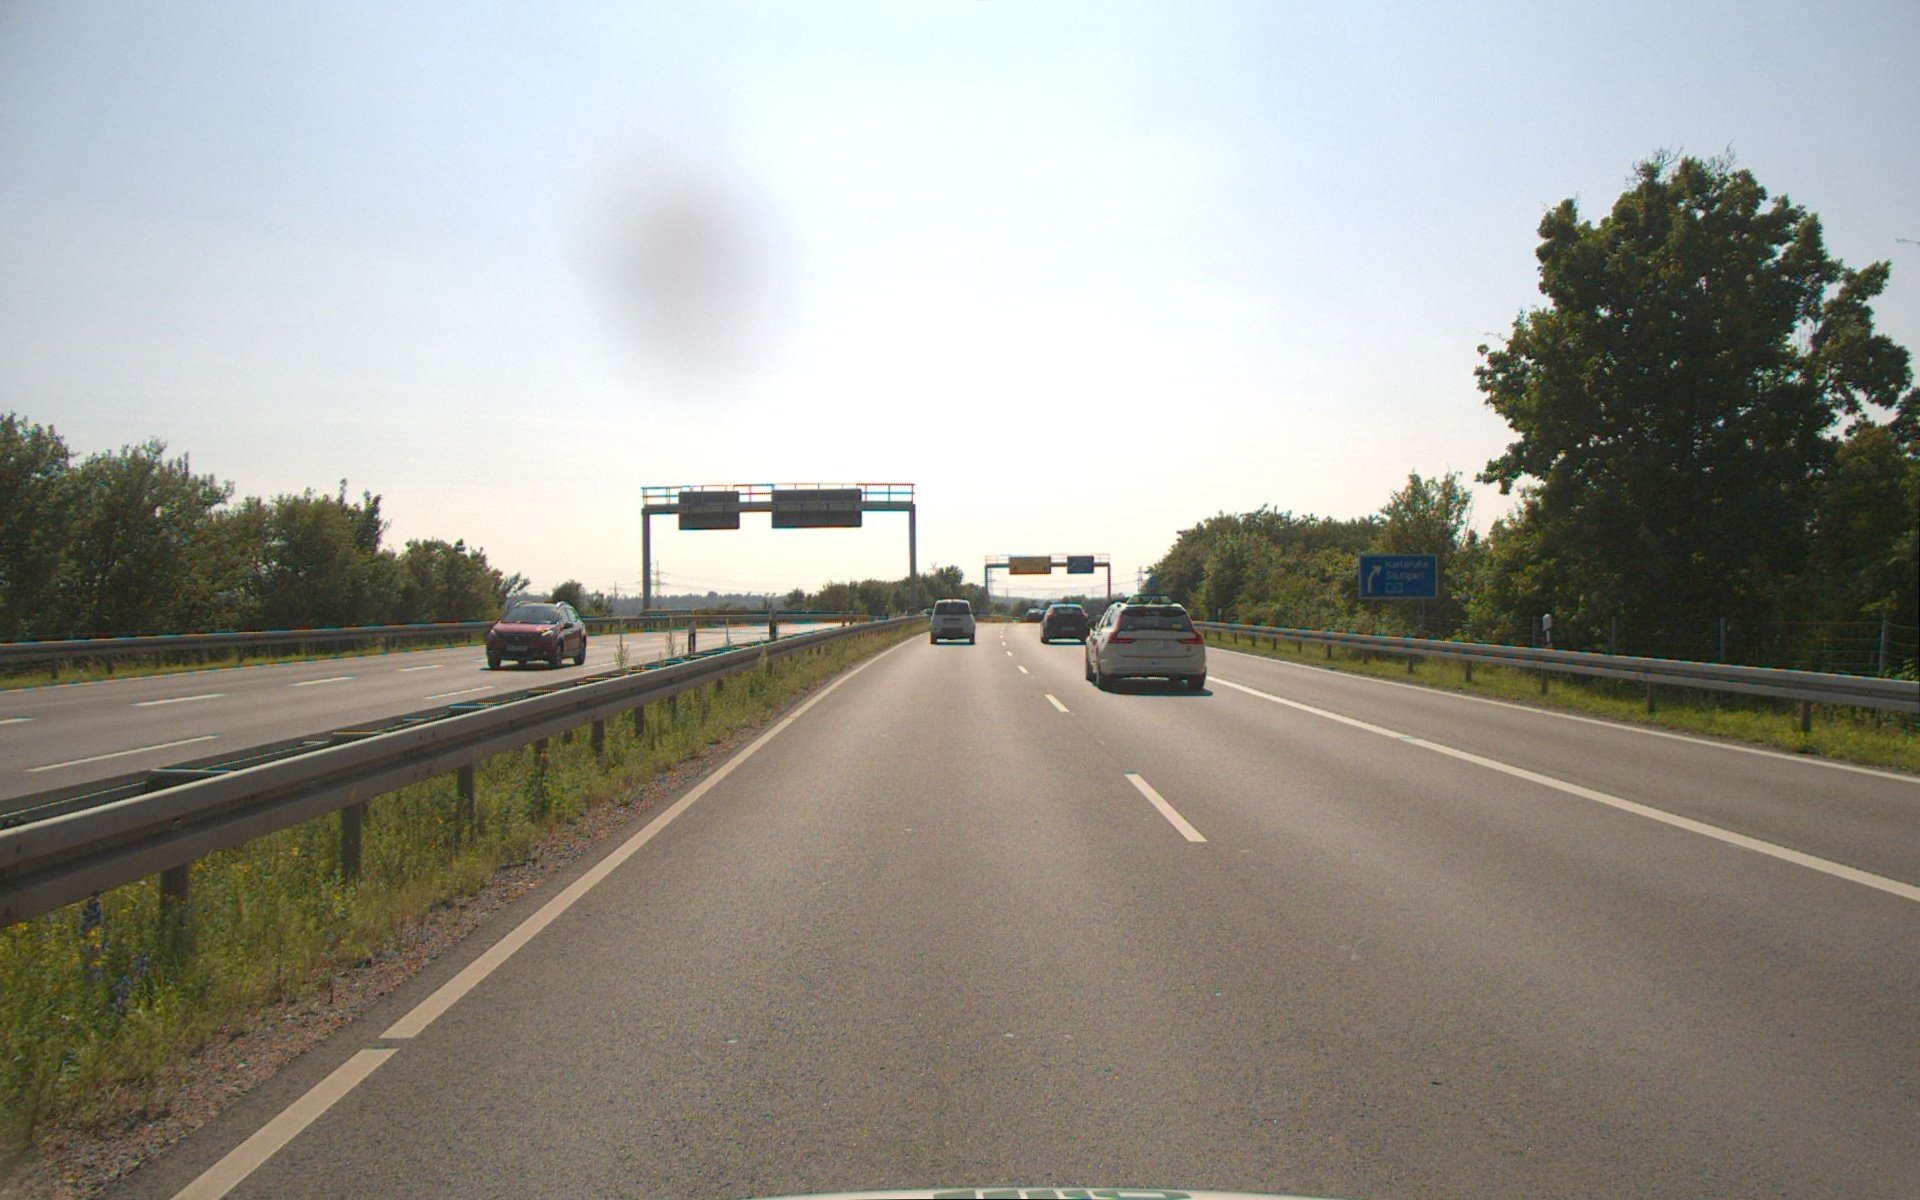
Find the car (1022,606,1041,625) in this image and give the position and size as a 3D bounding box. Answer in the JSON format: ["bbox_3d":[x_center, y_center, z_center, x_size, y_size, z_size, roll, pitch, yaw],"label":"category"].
[{"bbox_3d":[7.671,1.649,177.317,1.952,2.049,4.001,1,0,1],"label":"car"}]

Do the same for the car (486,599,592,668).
[{"bbox_3d":[-10.365,0.787,40.975,1.609,1.602,4.263,1,0,-1],"label":"car"}]

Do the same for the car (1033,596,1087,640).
[{"bbox_3d":[3.680,0.693,61.325,1.756,1.570,3.671,1,-1,0],"label":"car"}]

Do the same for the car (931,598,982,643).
[{"bbox_3d":[-0.139,0.751,60.069,1.756,1.529,4.042,-1,-1,0],"label":"car"}]

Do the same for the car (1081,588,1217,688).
[{"bbox_3d":[3.278,0.634,29.414,1.918,1.629,4.106,1,0,0],"label":"car"}]
